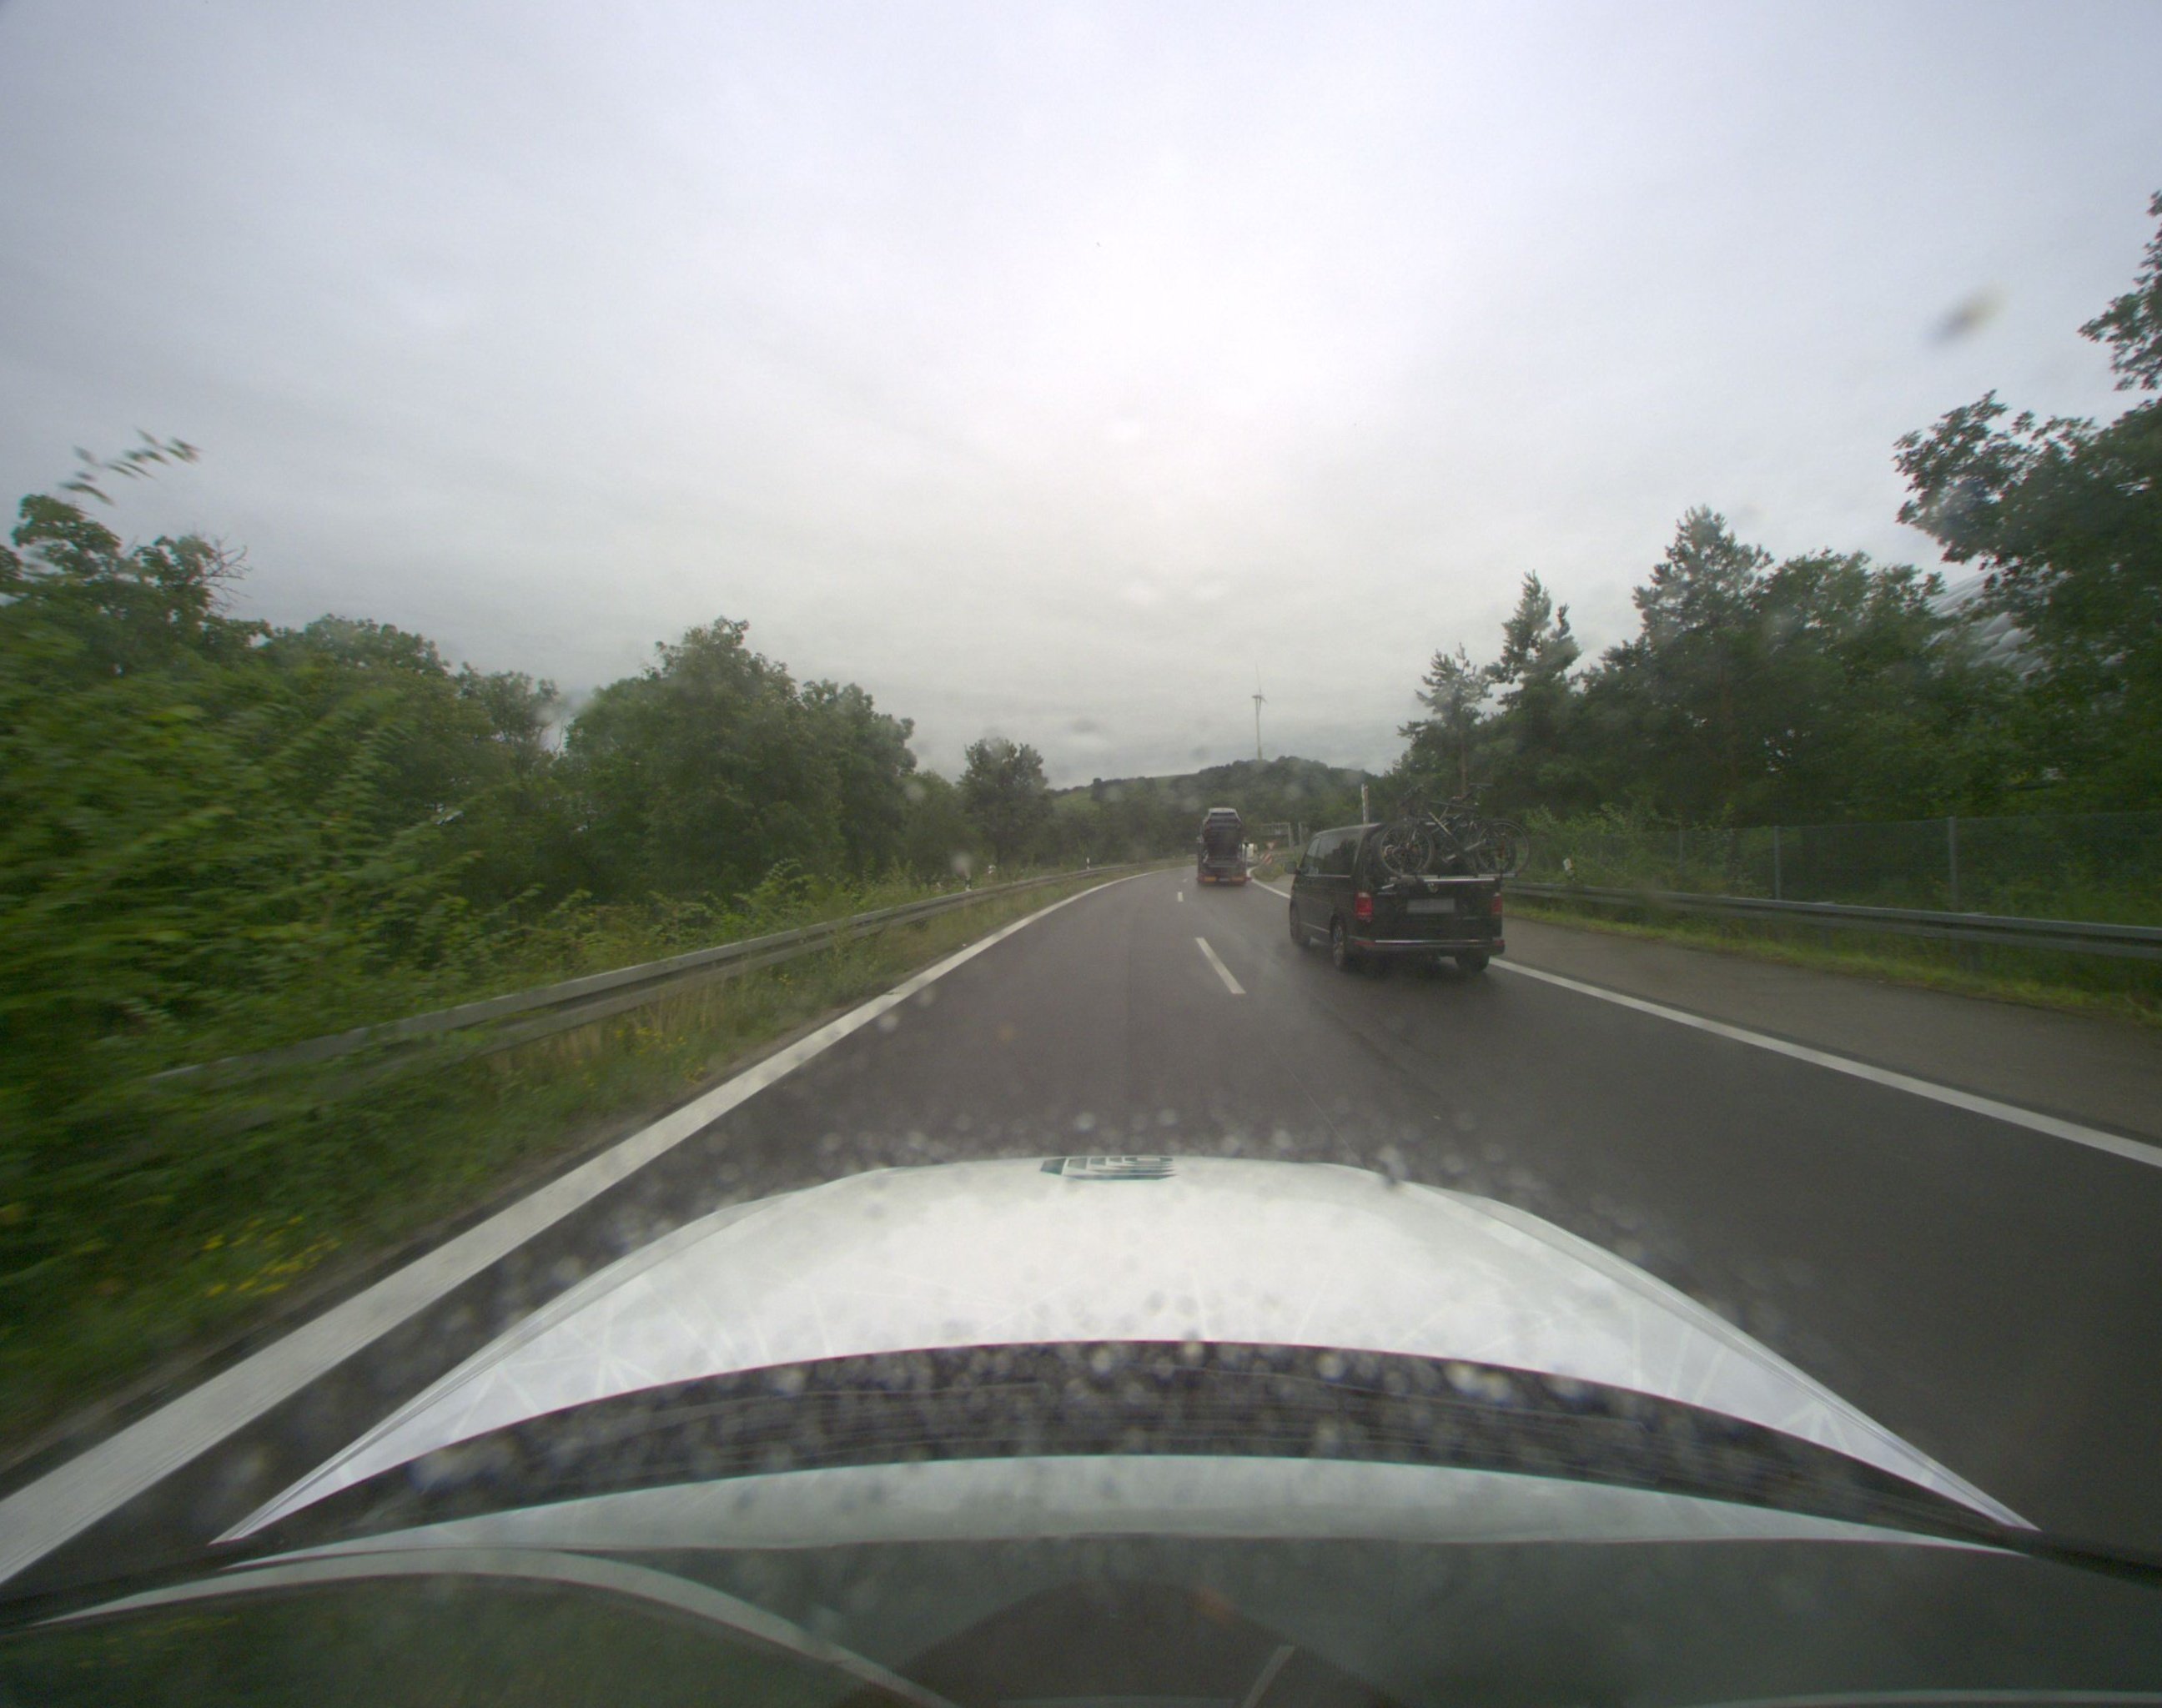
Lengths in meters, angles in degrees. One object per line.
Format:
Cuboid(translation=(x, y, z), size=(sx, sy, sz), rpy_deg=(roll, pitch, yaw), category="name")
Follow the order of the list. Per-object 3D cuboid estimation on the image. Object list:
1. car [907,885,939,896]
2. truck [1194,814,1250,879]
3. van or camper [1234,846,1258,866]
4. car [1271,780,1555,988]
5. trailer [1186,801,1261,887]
Cuboid(translation=(-28.028, 6.398, 144.587), size=(5.351, 1.717, 1.976), rpy_deg=(-1, -2, -40), category="car")
Cuboid(translation=(9.506, -0.457, 55.241), size=(3.374, 3.999, 10.874), rpy_deg=(0, 0, 9), category="truck")
Cuboid(translation=(18.709, 0.231, 92.191), size=(2.075, 2.231, 4.453), rpy_deg=(0, 0, 20), category="van or camper")
Cuboid(translation=(4.312, 0.311, 11.861), size=(2.101, 2.264, 5.902), rpy_deg=(0, 0, 4), category="car")
Cuboid(translation=(7.598, -0.458, 43.859), size=(3.428, 3.999, 12.057), rpy_deg=(0, 0, 9), category="trailer")
